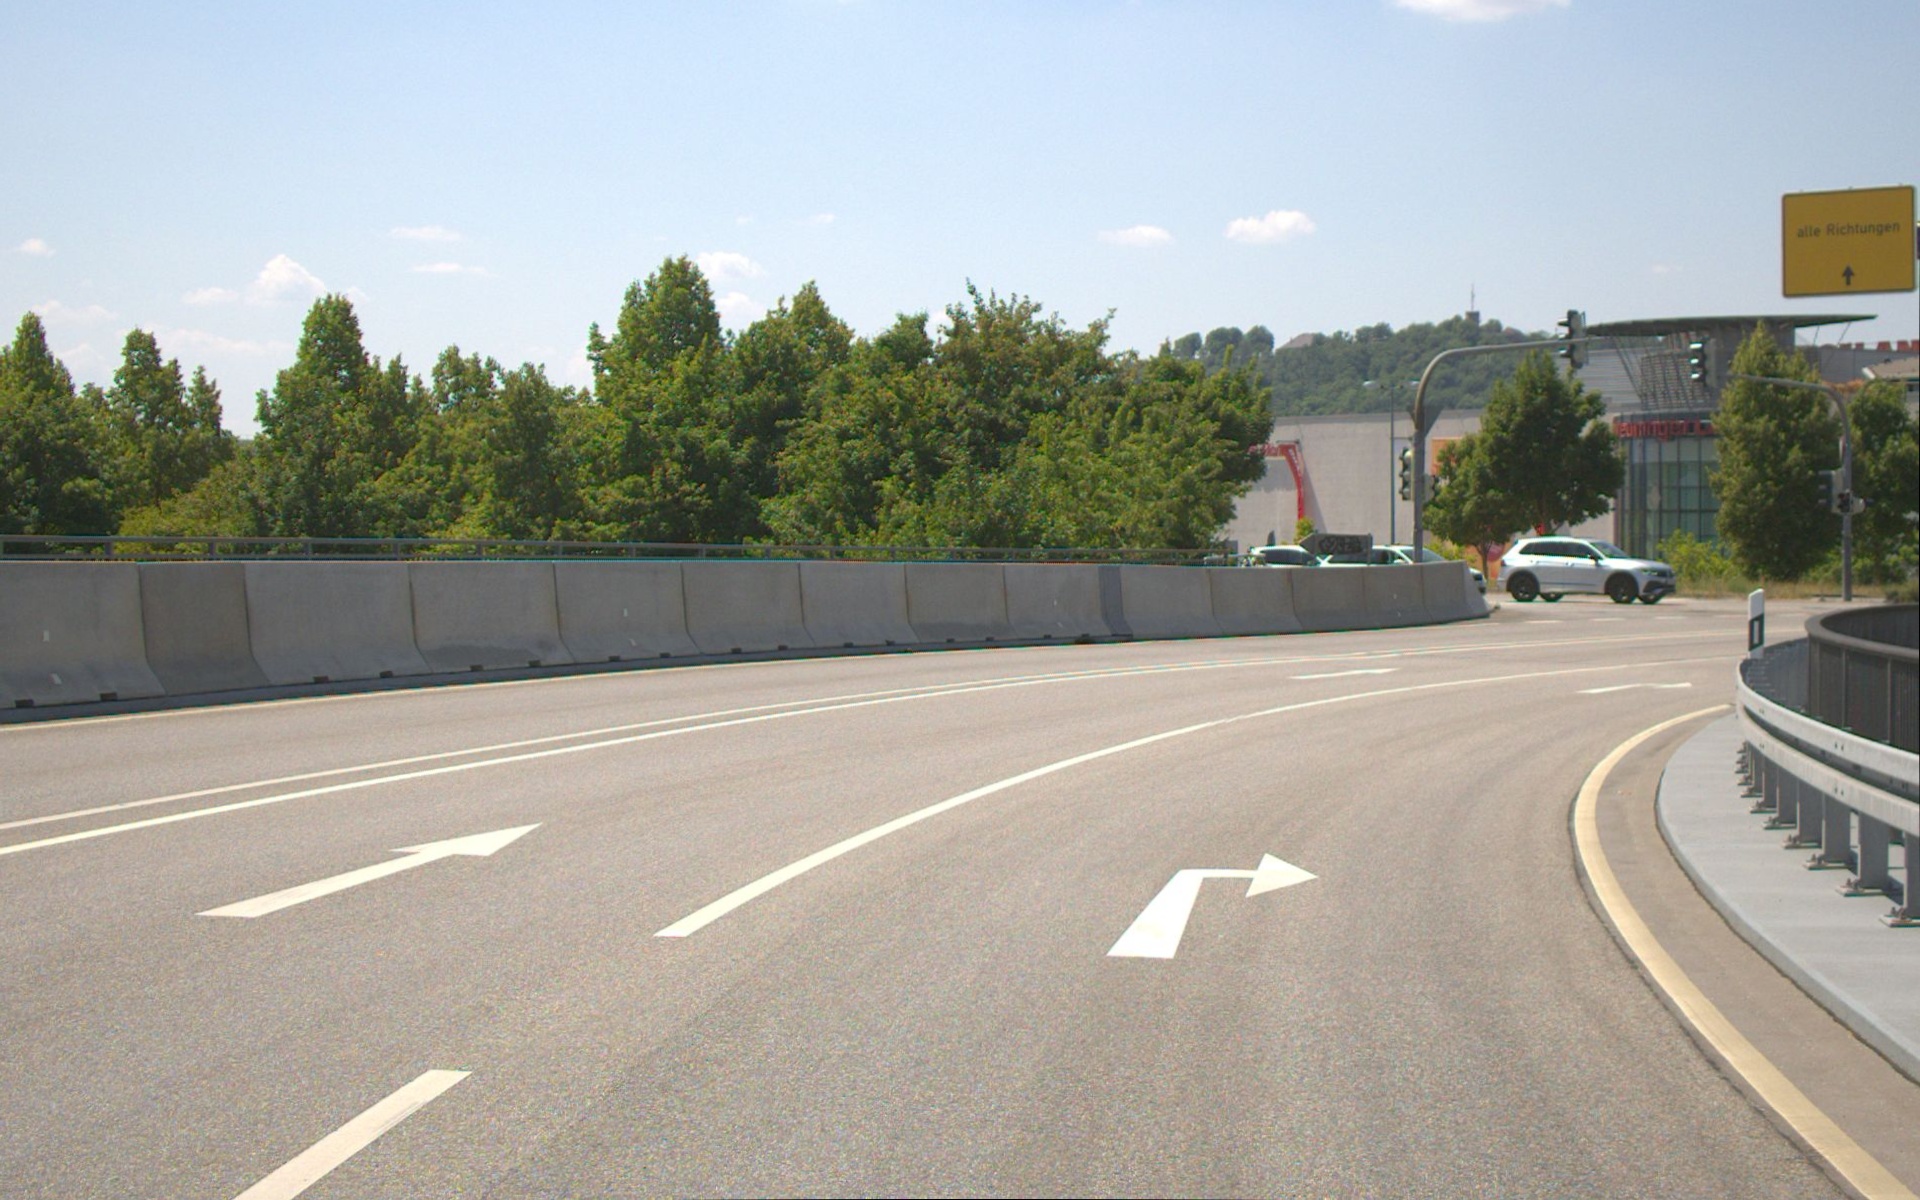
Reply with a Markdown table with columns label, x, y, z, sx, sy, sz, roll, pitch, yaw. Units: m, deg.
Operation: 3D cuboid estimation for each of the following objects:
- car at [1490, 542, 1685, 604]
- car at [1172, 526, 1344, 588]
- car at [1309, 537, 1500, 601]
| label | x | y | z | sx | sy | sz | roll | pitch | yaw |
| --- | --- | --- | --- | --- | --- | --- | --- | --- | --- |
| car | 15.742 | -0.673 | 86.301 | 4.390 | 1.500 | 1.996 | 0 | 0 | 34 |
| car | 7.959 | -1.160 | 91.926 | 4.131 | 1.481 | 1.996 | 3 | 3 | 36 |
| car | 10.943 | -0.783 | 84.916 | 1.788 | 1.490 | 4.549 | -1 | 2 | -44 |
